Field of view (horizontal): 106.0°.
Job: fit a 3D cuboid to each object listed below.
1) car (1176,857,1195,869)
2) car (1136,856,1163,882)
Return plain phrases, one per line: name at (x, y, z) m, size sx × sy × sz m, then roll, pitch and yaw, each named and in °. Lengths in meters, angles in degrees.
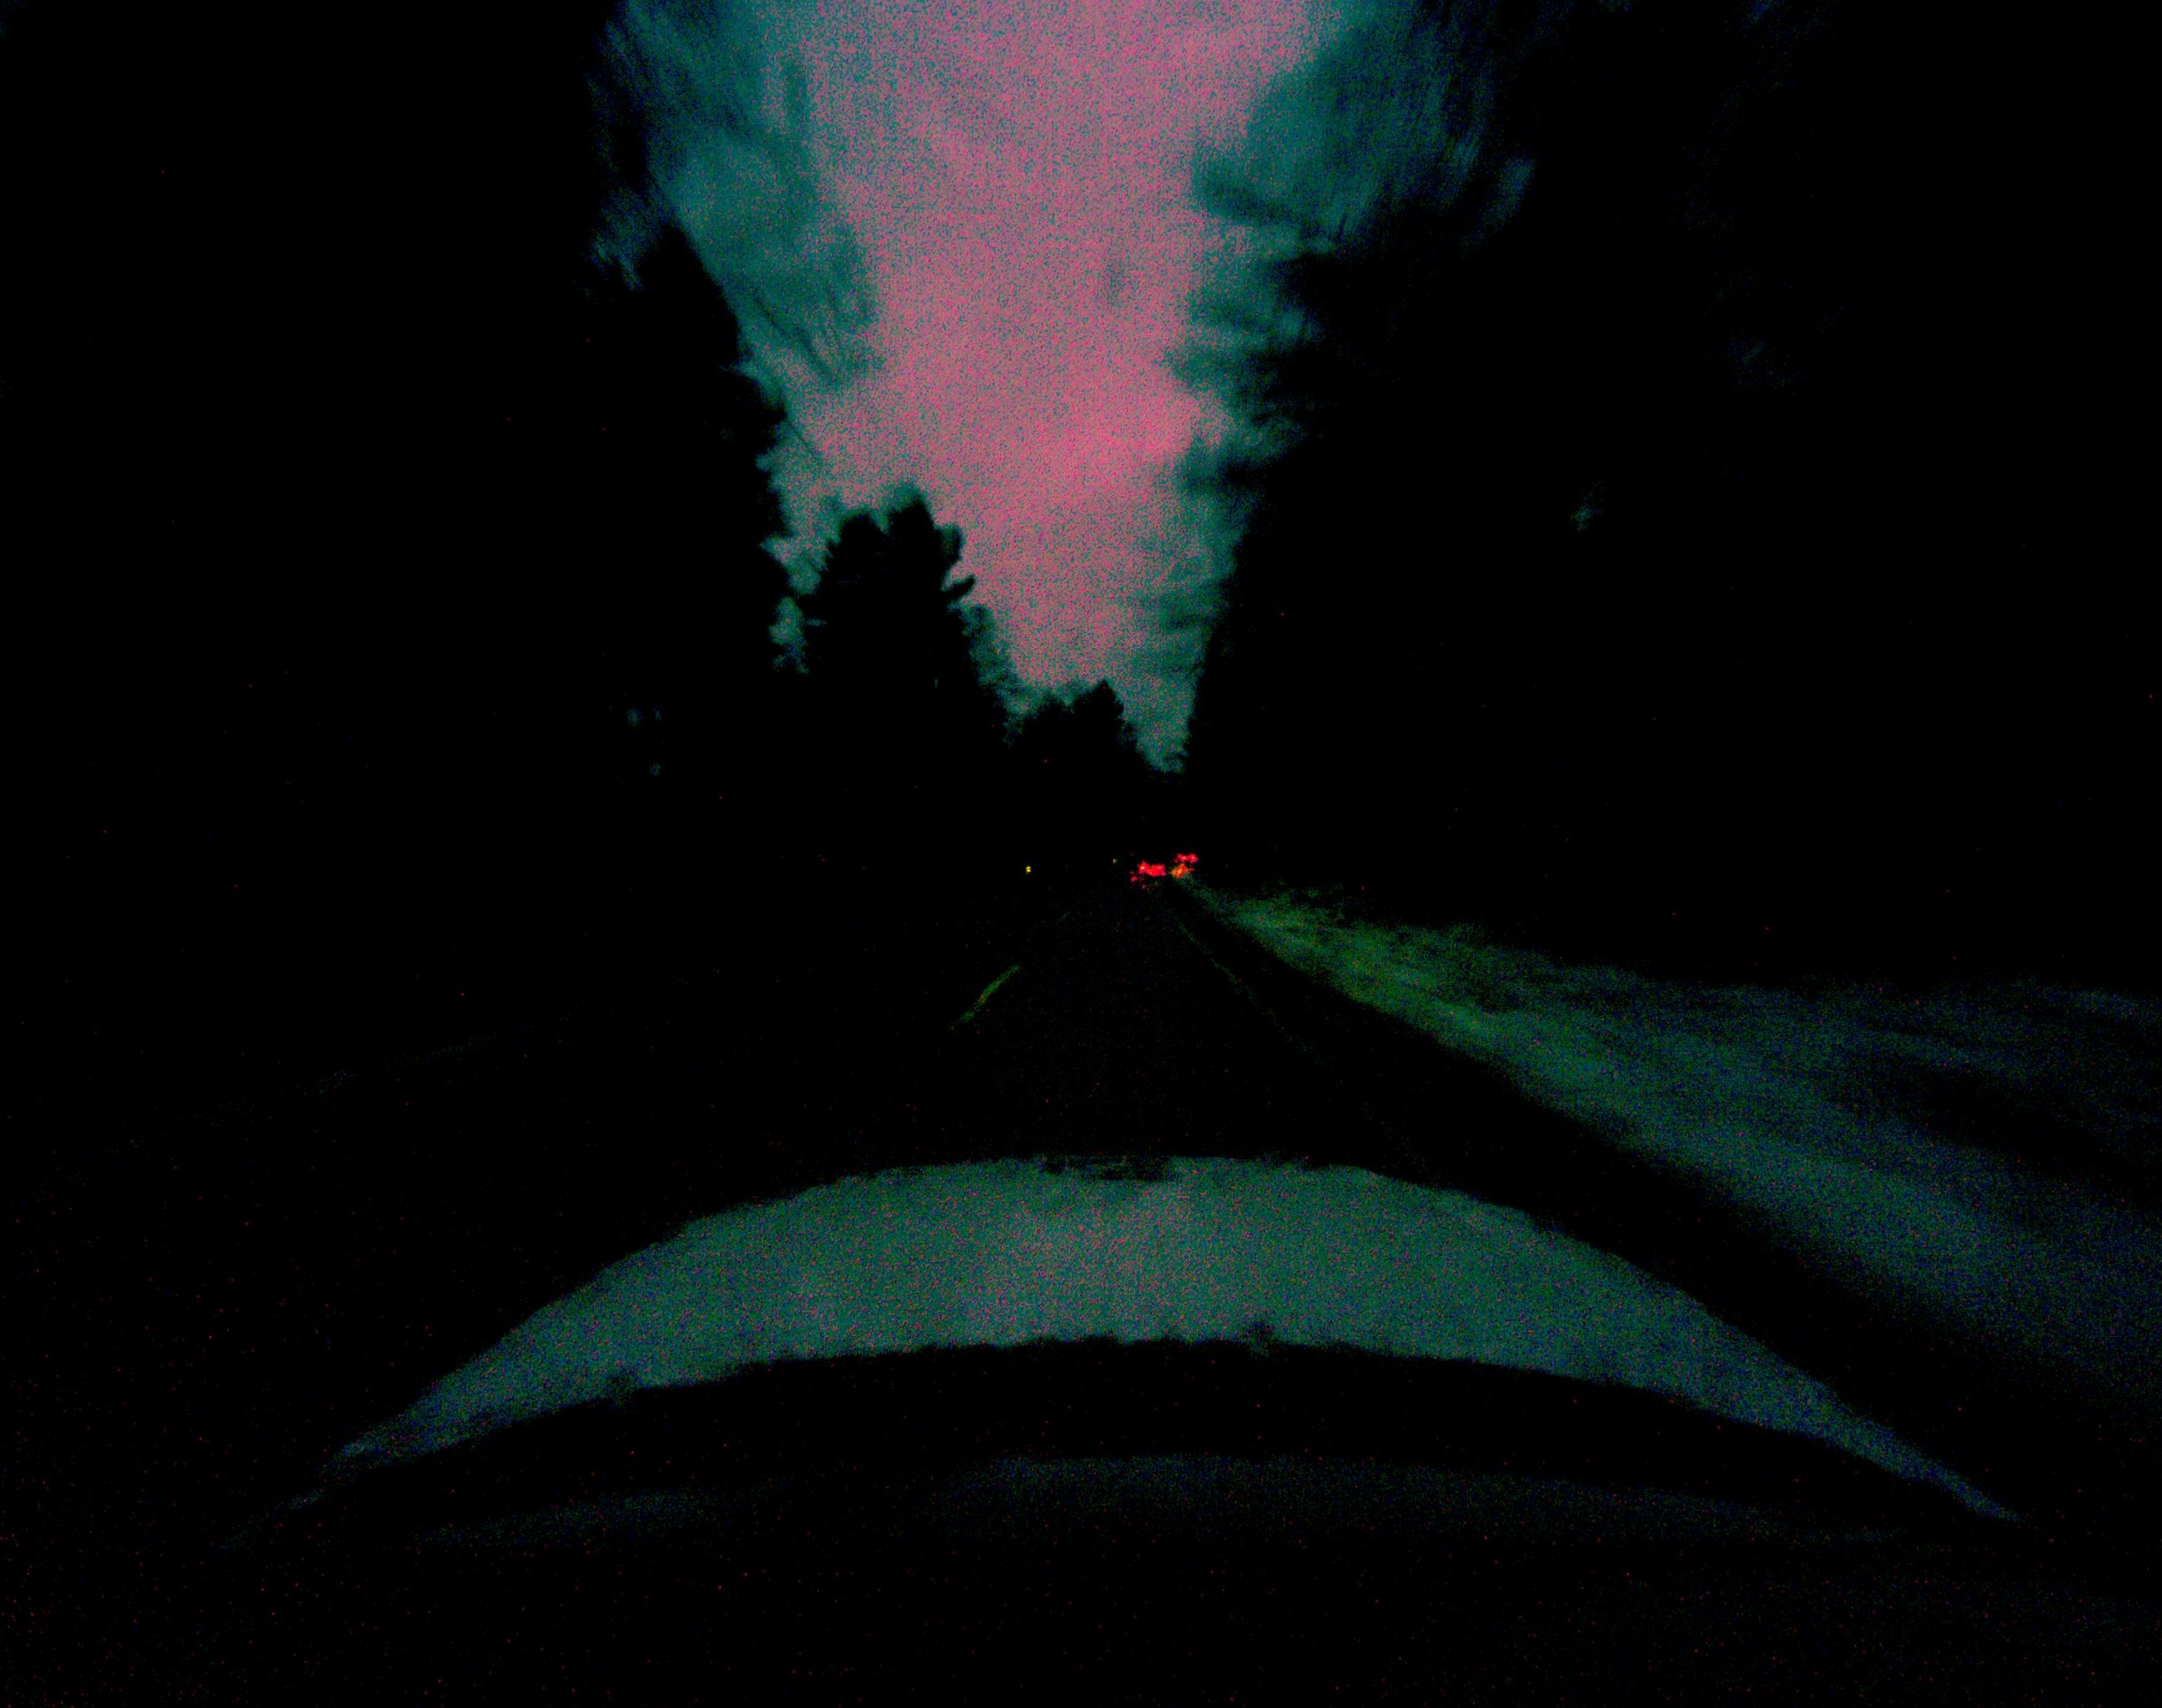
car at (12.948, 1.100, 100.499) m, size 1.981 × 1.310 × 4.012 m, roll -4°, pitch 0°, yaw 10°
car at (5.424, 1.181, 64.295) m, size 1.984 × 1.872 × 4.006 m, roll -4°, pitch 0°, yaw 5°
